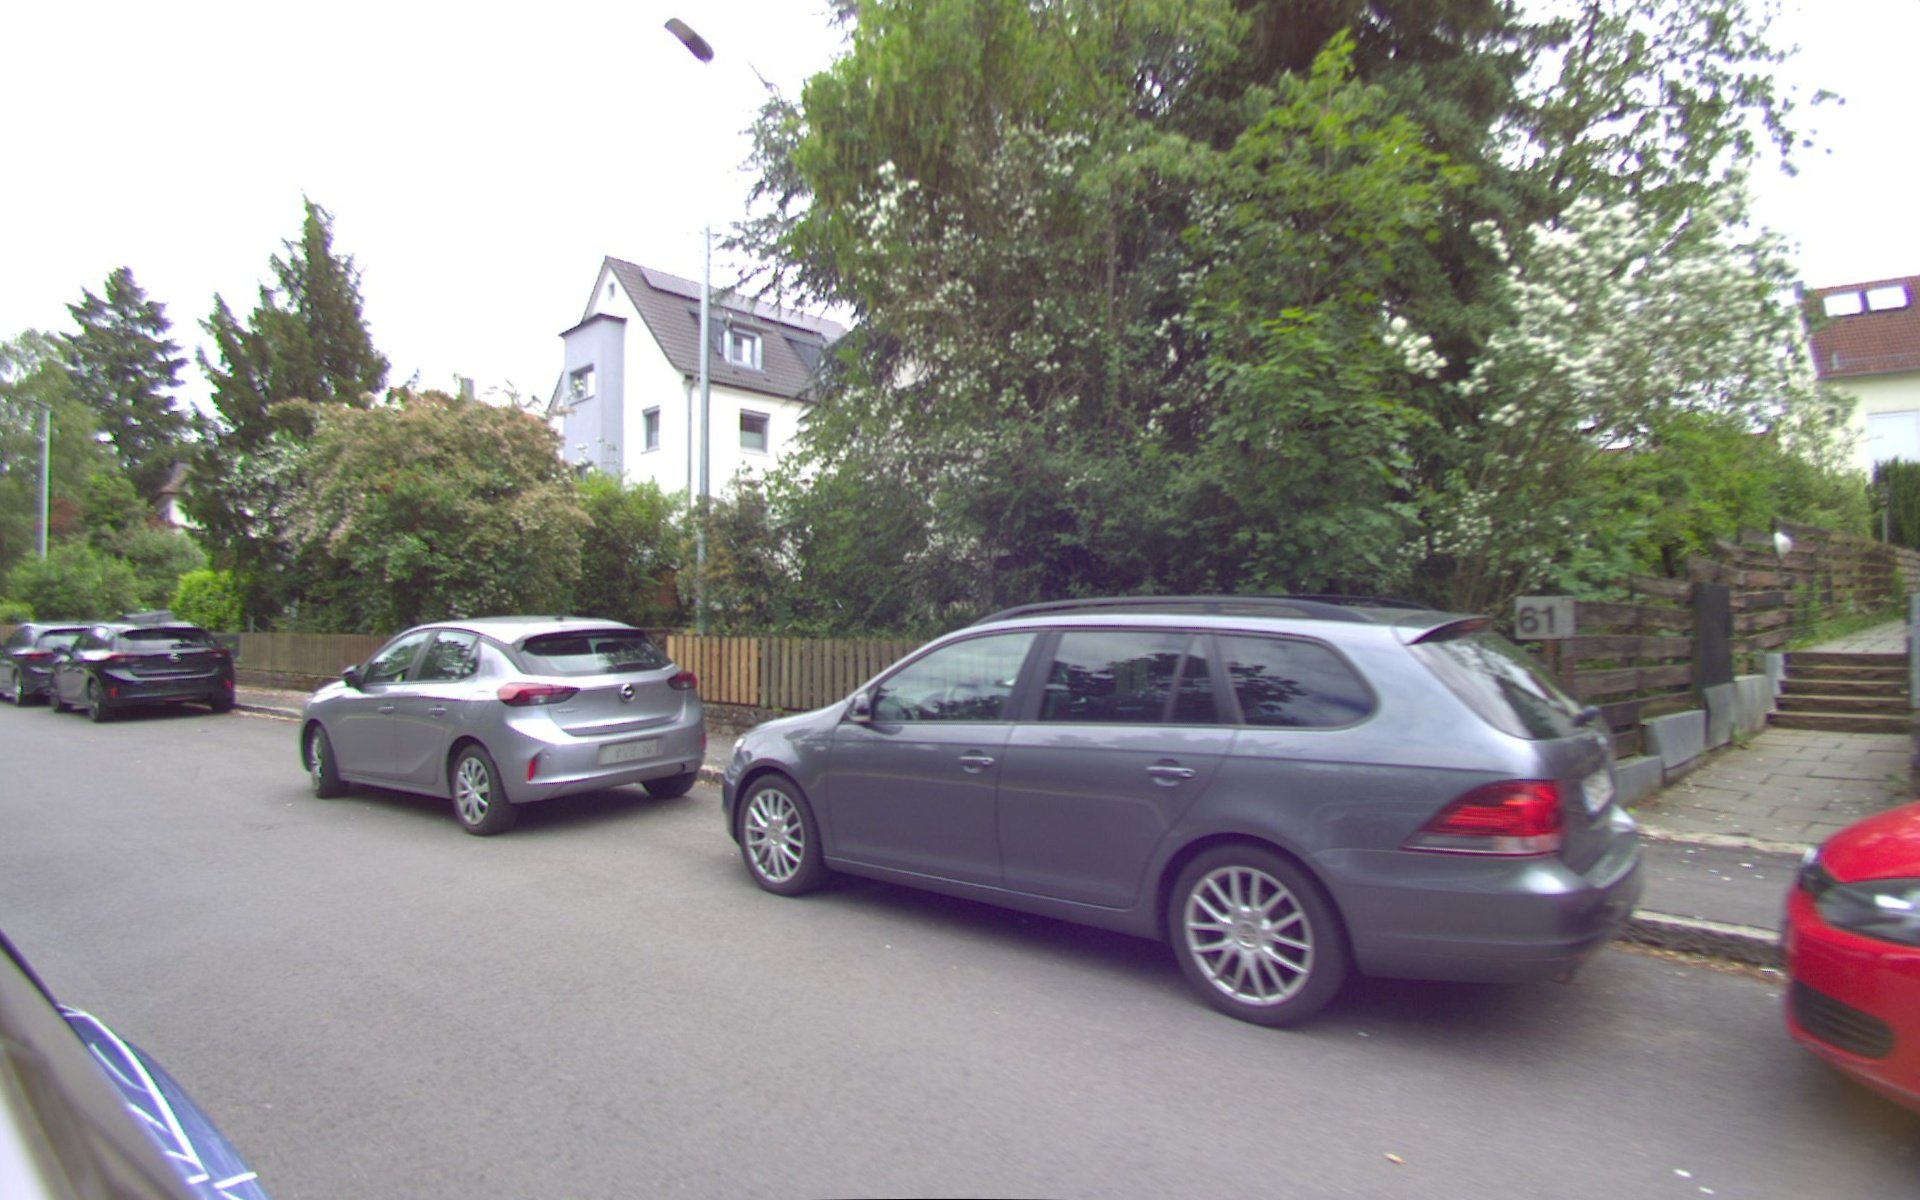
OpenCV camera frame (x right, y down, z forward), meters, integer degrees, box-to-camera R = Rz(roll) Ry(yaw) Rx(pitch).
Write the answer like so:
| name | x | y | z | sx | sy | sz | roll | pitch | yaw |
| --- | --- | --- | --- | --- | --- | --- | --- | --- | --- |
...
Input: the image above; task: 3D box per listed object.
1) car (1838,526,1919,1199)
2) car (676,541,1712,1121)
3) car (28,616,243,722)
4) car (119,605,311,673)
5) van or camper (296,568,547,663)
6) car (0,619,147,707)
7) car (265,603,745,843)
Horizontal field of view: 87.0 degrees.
| name | x | y | z | sx | sy | sz | roll | pitch | yaw |
| --- | --- | --- | --- | --- | --- | --- | --- | --- | --- |
| car | 4.201 | 0.561 | 1.480 | 4.363 | 1.526 | 1.688 | -1 | -1 | 42 |
| car | 0.690 | 0.642 | 4.779 | 4.492 | 1.526 | 1.689 | -1 | -1 | 40 |
| car | -12.909 | 0.987 | 15.766 | 4.125 | 1.427 | 1.691 | -1 | -1 | 37 |
| car | -19.546 | 0.977 | 26.662 | 3.936 | 1.559 | 1.845 | -2 | 0 | -39 |
| van or camper | -16.932 | 0.383 | 32.151 | 6.601 | 2.671 | 2.326 | -2 | 1 | -44 |
| car | -16.733 | 1.088 | 18.728 | 4.142 | 1.427 | 1.691 | -1 | -1 | 37 |
| car | -3.733 | 0.773 | 7.986 | 4.154 | 1.421 | 1.691 | -1 | -1 | 37 |
